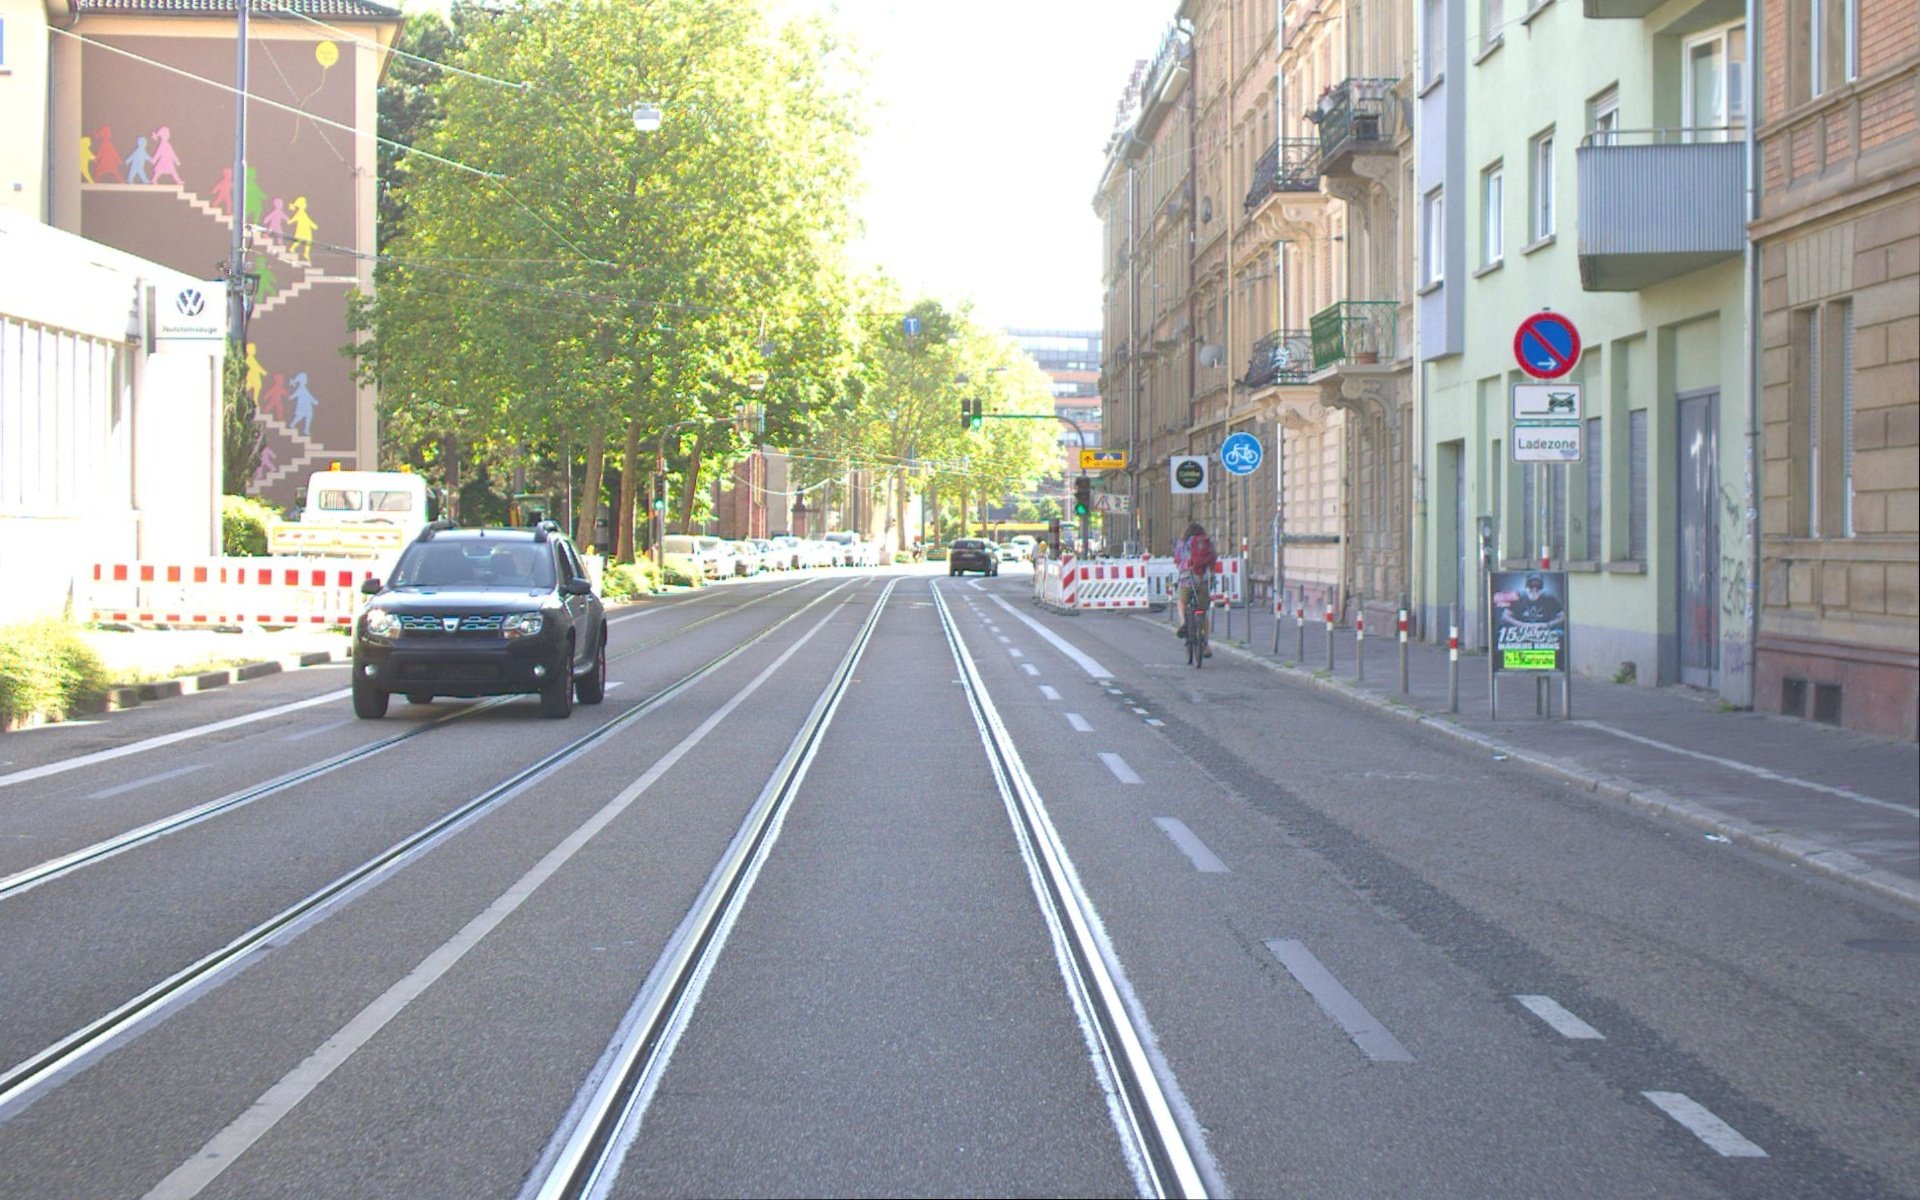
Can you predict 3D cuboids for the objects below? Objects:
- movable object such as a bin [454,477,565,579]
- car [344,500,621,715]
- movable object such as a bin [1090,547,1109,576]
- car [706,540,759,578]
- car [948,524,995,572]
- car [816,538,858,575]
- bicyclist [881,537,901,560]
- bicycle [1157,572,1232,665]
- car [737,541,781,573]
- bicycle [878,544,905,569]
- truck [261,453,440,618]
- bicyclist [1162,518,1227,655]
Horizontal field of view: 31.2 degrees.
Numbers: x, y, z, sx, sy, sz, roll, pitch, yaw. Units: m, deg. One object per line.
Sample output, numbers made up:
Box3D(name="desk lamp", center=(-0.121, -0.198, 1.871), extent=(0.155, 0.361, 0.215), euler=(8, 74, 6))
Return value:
Box3D(name="movable object such as a bin", center=(-12.386, -1.964, 94.848), extent=(2.495, 2.636, 5.990), euler=(2, 1, -3))
Box3D(name="car", center=(-4.099, 0.050, 30.119), extent=(1.759, 1.691, 4.144), euler=(2, 0, 0))
Box3D(name="movable object such as a bin", center=(5.027, -1.385, 123.916), extent=(0.673, 1.032, 0.813), euler=(0, 2, 0))
Box3D(name="car", center=(-9.567, -1.697, 144.693), extent=(1.748, 1.504, 4.043), euler=(2, 0, 2))
Box3D(name="car", center=(0.491, -2.278, 151.365), extent=(1.993, 2.007, 4.000), euler=(2, 0, 0))
Box3D(name="car", center=(-7.090, -2.489, 198.446), extent=(2.058, 2.045, 4.043), euler=(2, 0, 2))
Box3D(name="bicyclist", center=(-4.382, -3.250, 218.551), extent=(1.078, 1.423, 1.146), euler=(2, 0, 8))
Box3D(name="bicycle", center=(2.957, 0.214, 43.600), extent=(0.681, 1.110, 2.707), euler=(2, 1, -1))
Box3D(name="car", center=(-9.784, -2.080, 167.639), extent=(1.748, 1.490, 4.043), euler=(2, 0, 2))
Box3D(name="bicycle", center=(-4.347, -2.763, 218.580), extent=(1.234, 1.567, 2.896), euler=(2, 0, 7))
Box3D(name="truck", center=(-11.227, -1.166, 63.764), extent=(2.537, 2.820, 6.377), euler=(2, 0, -4))
Box3D(name="bicyclist", center=(2.974, -0.172, 43.683), extent=(0.667, 1.691, 1.043), euler=(2, 0, -1))
